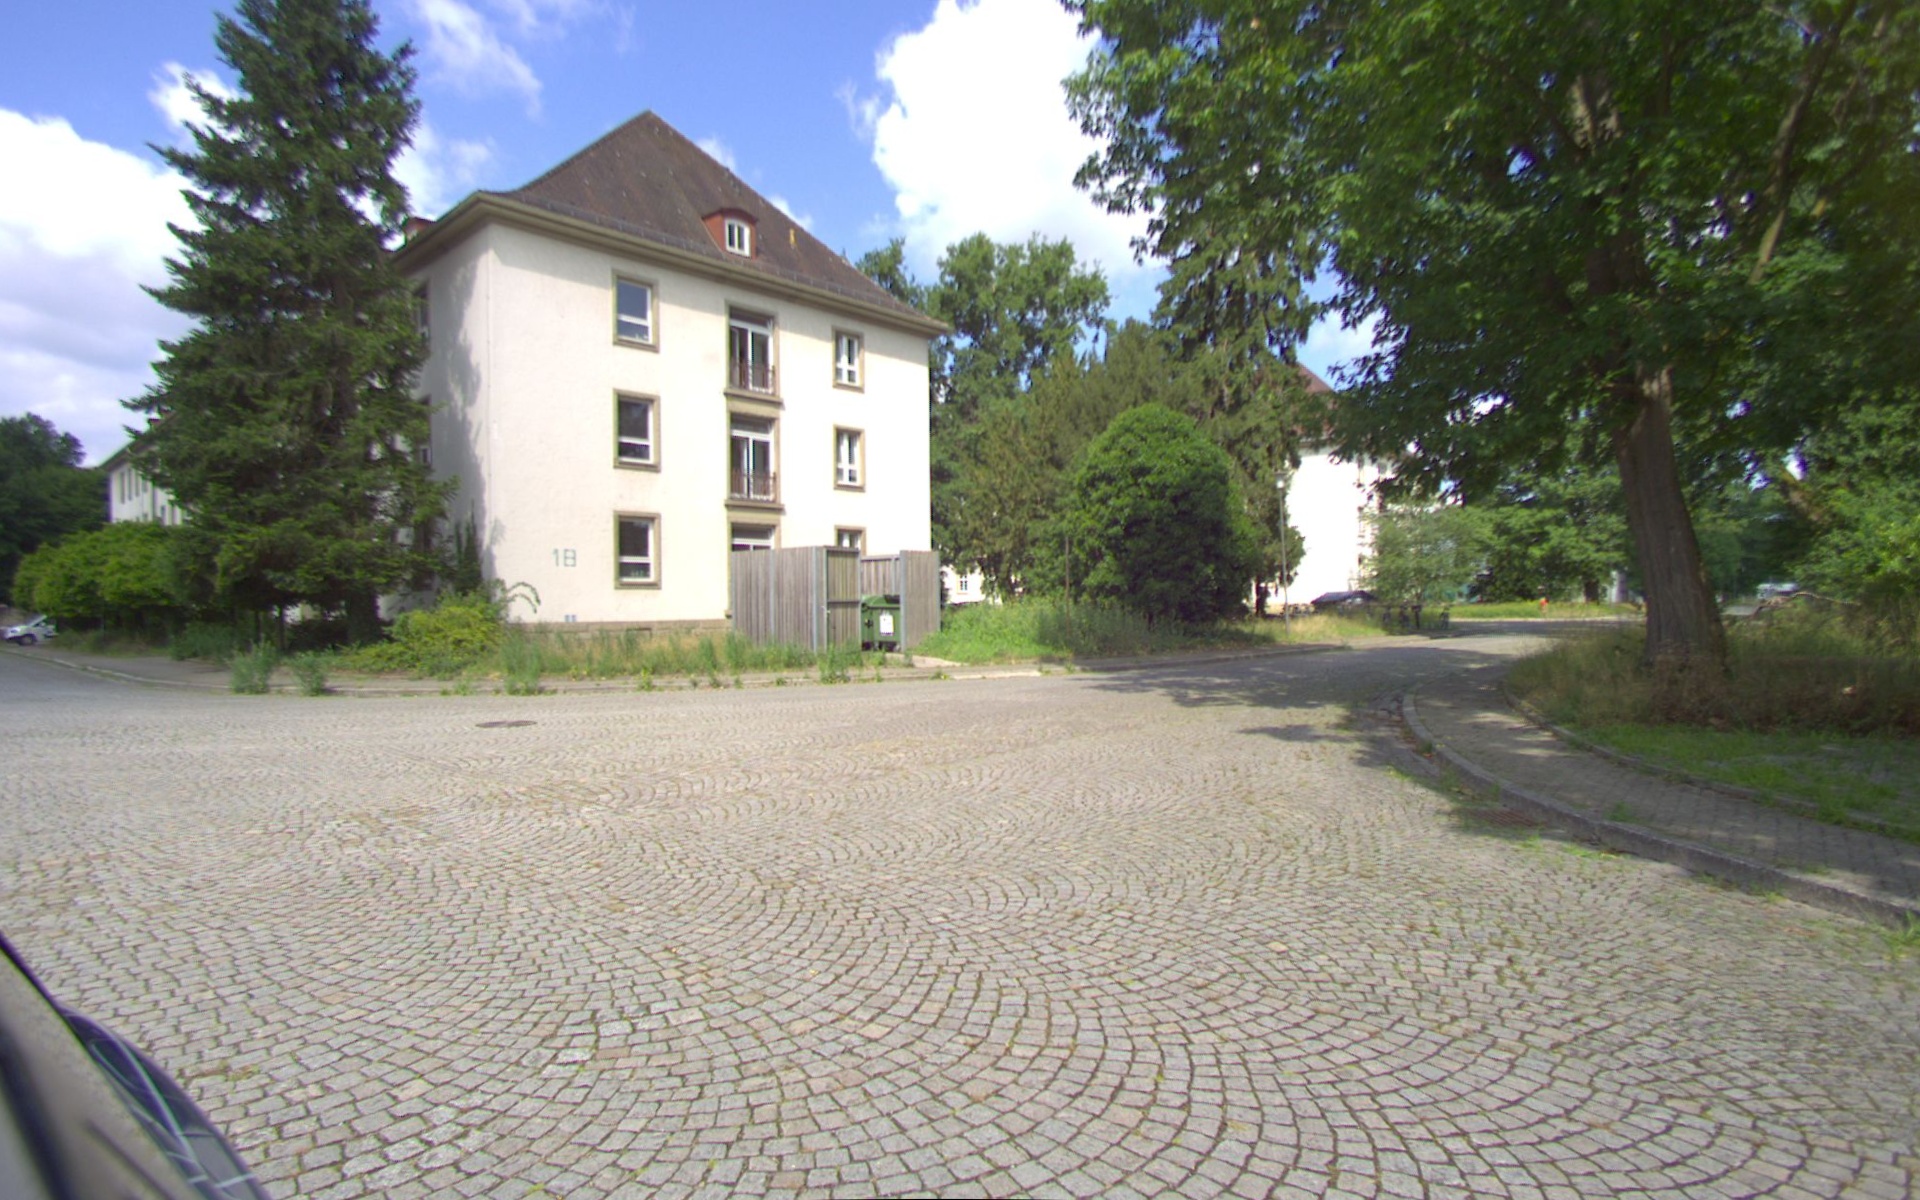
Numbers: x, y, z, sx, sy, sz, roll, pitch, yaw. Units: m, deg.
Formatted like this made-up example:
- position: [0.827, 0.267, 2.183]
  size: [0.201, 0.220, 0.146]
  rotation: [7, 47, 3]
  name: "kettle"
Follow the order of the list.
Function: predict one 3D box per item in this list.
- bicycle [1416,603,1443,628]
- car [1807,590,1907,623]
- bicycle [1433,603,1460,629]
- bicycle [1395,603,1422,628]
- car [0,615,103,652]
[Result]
- position: [21.575, 0.712, 46.491]
  size: [0.559, 1.106, 2.185]
  rotation: [-1, 0, 40]
  name: "bicycle"
- position: [57.988, 0.456, 65.486]
  size: [1.970, 2.007, 4.650]
  rotation: [-2, 0, -42]
  name: "car"
- position: [21.811, 0.711, 45.315]
  size: [0.559, 1.106, 2.185]
  rotation: [-1, 0, 40]
  name: "bicycle"
- position: [20.882, 0.729, 47.115]
  size: [0.559, 1.106, 2.185]
  rotation: [-1, 0, 40]
  name: "bicycle"
- position: [-53.117, 1.897, 59.181]
  size: [1.819, 1.819, 4.258]
  rotation: [-1, 2, 40]
  name: "car"
